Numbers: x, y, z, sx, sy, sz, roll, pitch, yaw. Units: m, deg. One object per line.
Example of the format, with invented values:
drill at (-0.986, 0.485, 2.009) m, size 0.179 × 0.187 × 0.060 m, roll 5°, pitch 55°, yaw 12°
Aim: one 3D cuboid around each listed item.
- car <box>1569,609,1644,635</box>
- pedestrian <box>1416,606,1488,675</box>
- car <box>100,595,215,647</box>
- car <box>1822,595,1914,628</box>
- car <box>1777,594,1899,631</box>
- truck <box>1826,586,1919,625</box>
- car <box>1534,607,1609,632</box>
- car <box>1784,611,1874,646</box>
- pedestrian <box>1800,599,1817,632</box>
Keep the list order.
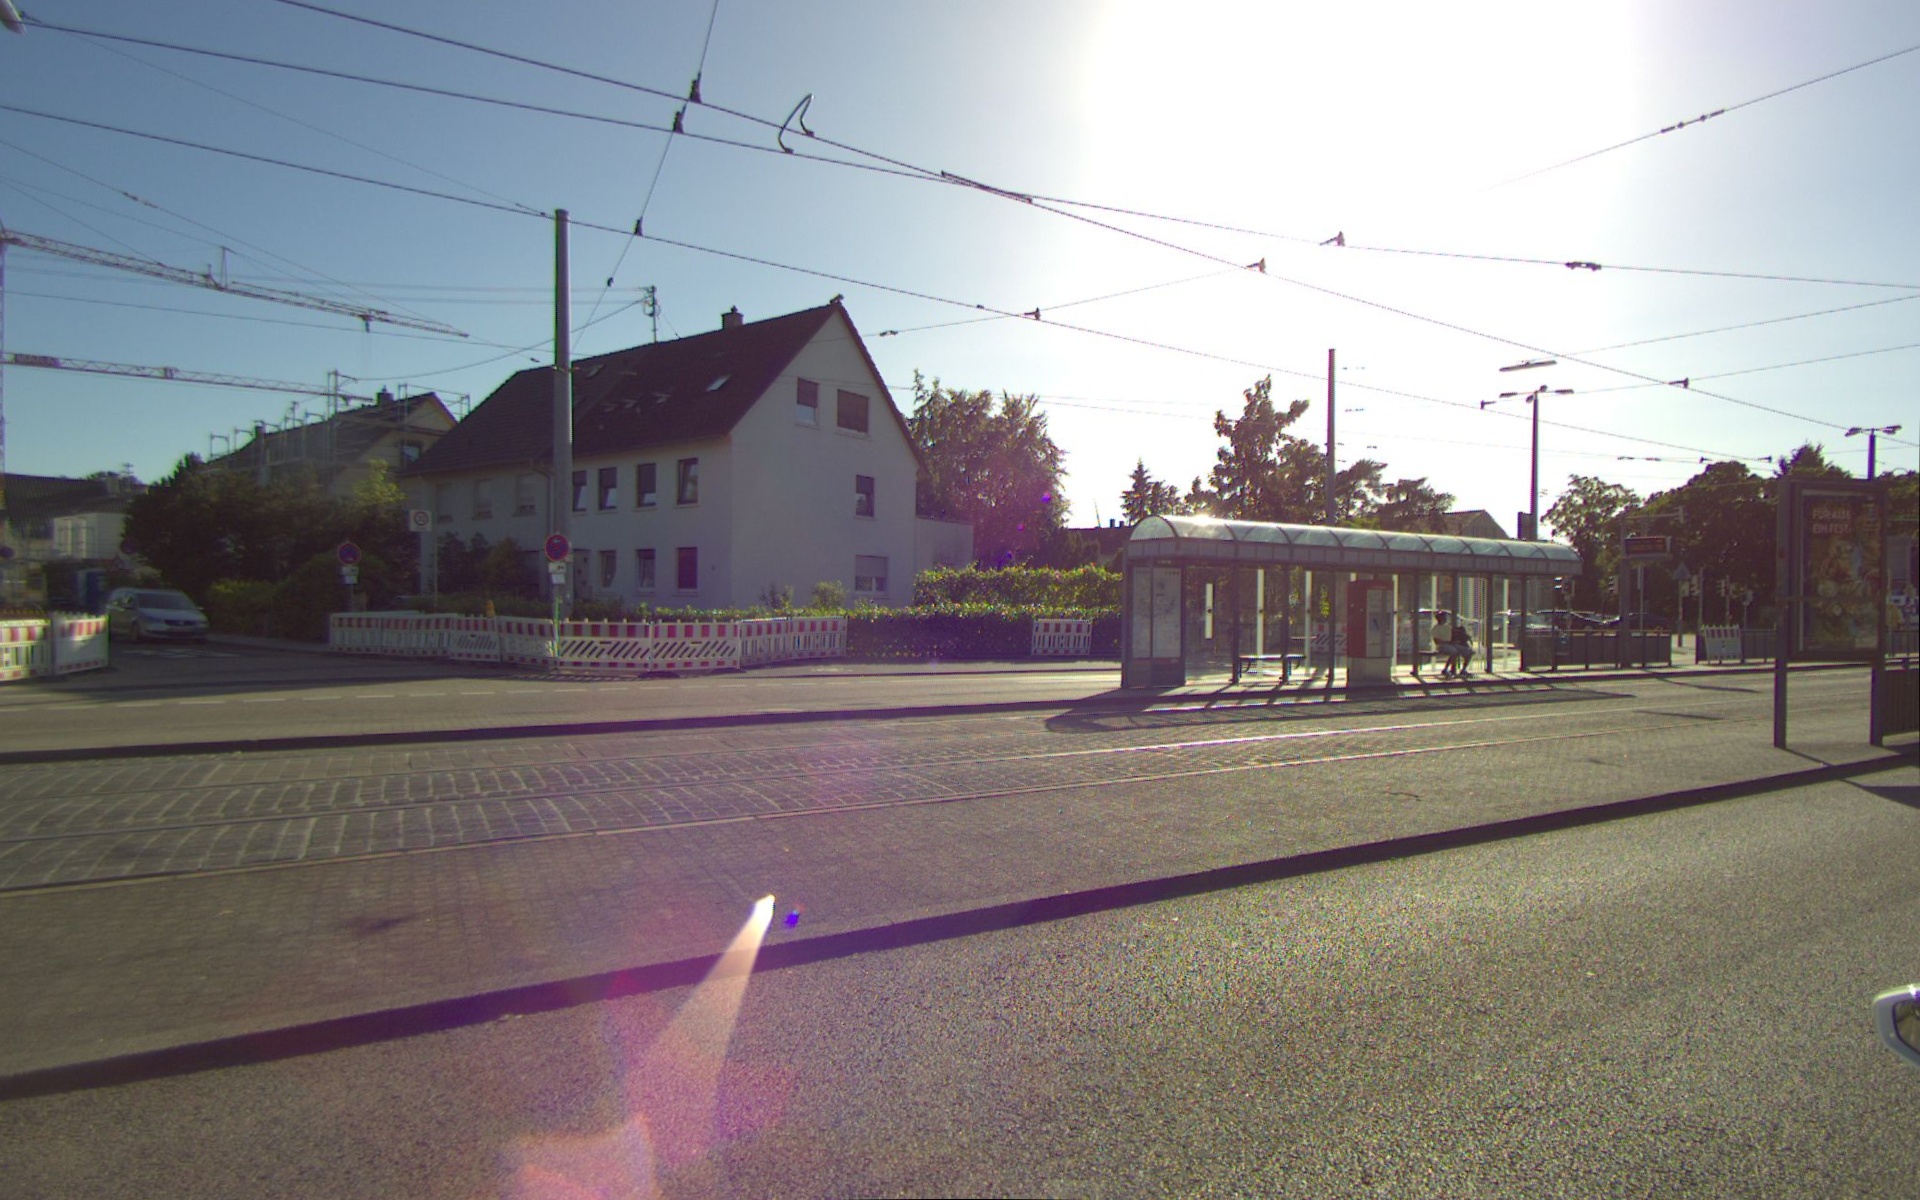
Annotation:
car at (41.561, 1.386, 64.628) m, size 3.935 × 1.493 × 1.745 m, roll 2°, pitch 1°, yaw 36°
pedestrian at (10.794, 0.873, 22.061) m, size 0.995 × 1.472 × 1.055 m, roll 1°, pitch -1°, yaw -30°
car at (-24.999, 0.603, 31.245) m, size 4.418 × 1.426 × 1.742 m, roll 1°, pitch 1°, yaw 36°
car at (52.307, 0.661, 57.966) m, size 3.747 × 1.732 × 1.744 m, roll 2°, pitch 1°, yaw 39°
car at (51.200, 0.702, 58.714) m, size 5.084 × 1.905 × 1.994 m, roll 2°, pitch 1°, yaw 34°
truck at (63.208, 0.408, 68.953) m, size 6.701 × 2.599 × 1.996 m, roll 0°, pitch 0°, yaw -11°
car at (35.096, 1.106, 57.657) m, size 3.616 × 1.397 × 1.522 m, roll 0°, pitch 0°, yaw 36°
car at (48.243, 1.552, 55.851) m, size 3.560 × 1.732 × 1.746 m, roll 2°, pitch 1°, yaw 35°
pedestrian at (53.129, 0.952, 62.885) m, size 0.785 × 2.040 × 0.741 m, roll 0°, pitch 0°, yaw -42°
